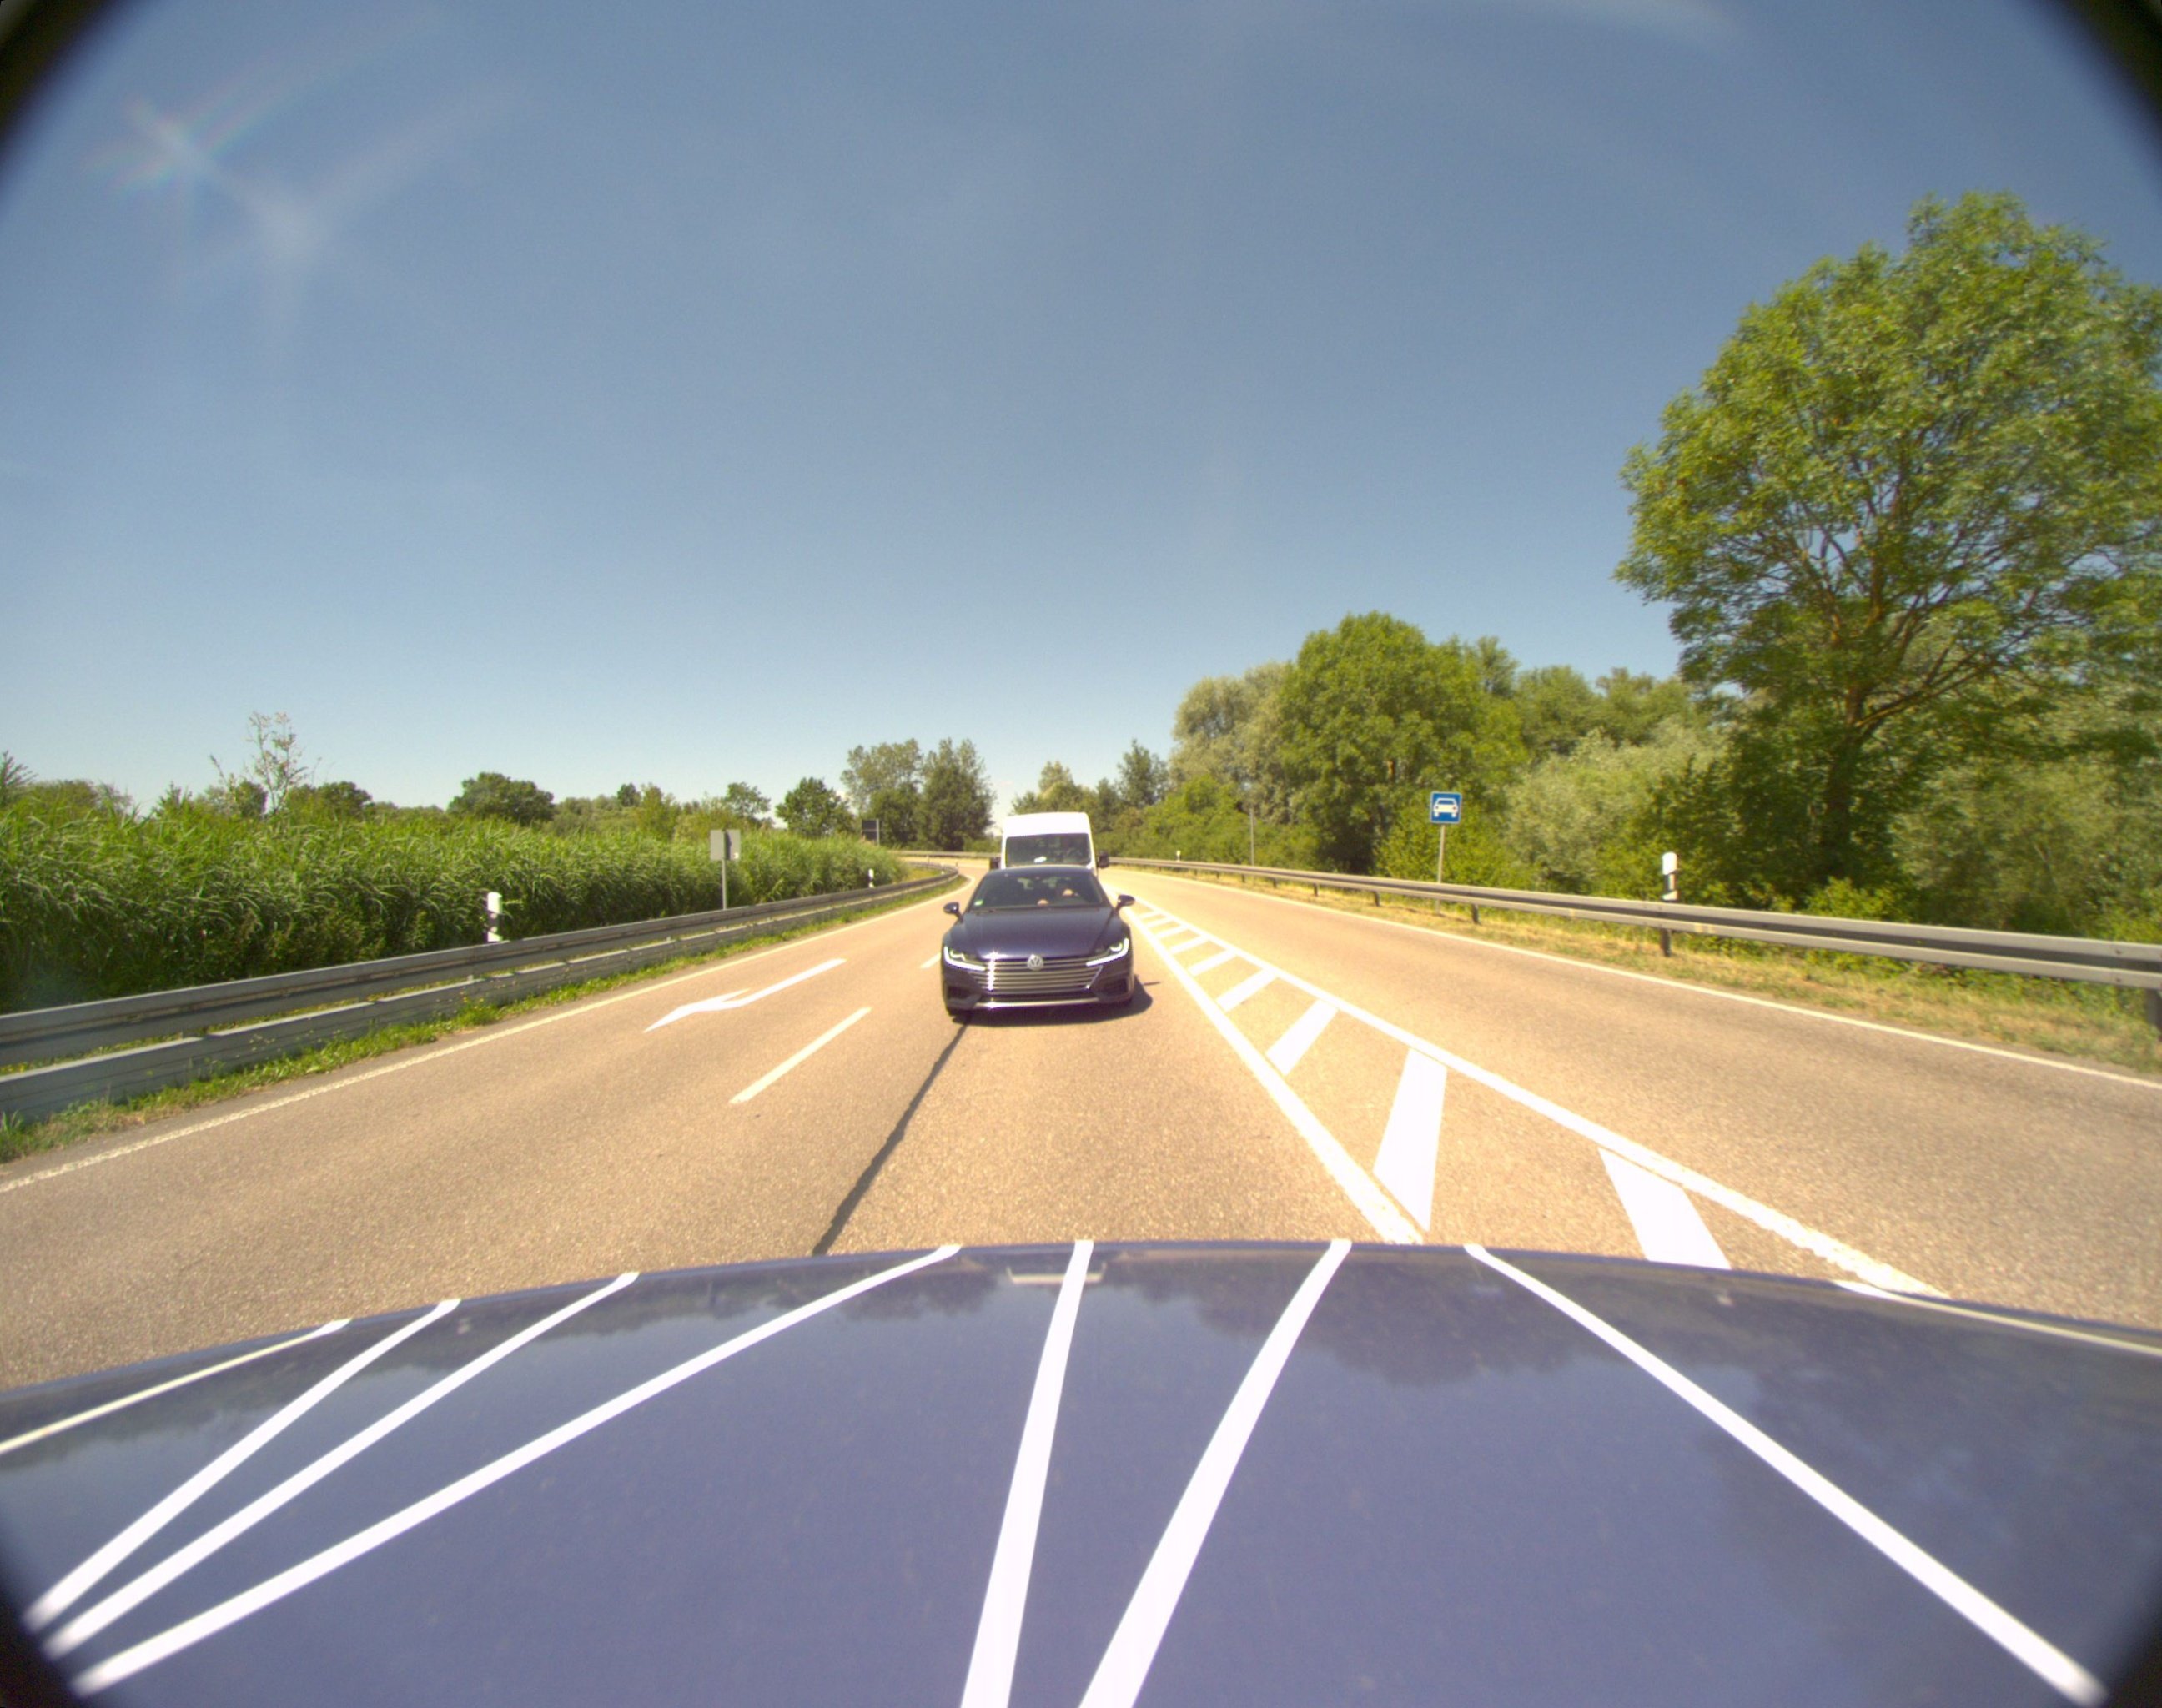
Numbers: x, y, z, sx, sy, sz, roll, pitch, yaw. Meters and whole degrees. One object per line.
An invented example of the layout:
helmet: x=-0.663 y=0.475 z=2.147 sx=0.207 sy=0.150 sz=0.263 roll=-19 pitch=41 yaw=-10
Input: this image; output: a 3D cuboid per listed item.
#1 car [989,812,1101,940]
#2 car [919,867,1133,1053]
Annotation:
car: x=-0.666 y=0.385 z=17.430 sx=2.059 sy=2.376 sz=5.826 roll=-2 pitch=1 yaw=0
car: x=-0.450 y=0.929 z=8.422 sx=1.761 sy=1.401 sz=3.999 roll=-2 pitch=1 yaw=0
